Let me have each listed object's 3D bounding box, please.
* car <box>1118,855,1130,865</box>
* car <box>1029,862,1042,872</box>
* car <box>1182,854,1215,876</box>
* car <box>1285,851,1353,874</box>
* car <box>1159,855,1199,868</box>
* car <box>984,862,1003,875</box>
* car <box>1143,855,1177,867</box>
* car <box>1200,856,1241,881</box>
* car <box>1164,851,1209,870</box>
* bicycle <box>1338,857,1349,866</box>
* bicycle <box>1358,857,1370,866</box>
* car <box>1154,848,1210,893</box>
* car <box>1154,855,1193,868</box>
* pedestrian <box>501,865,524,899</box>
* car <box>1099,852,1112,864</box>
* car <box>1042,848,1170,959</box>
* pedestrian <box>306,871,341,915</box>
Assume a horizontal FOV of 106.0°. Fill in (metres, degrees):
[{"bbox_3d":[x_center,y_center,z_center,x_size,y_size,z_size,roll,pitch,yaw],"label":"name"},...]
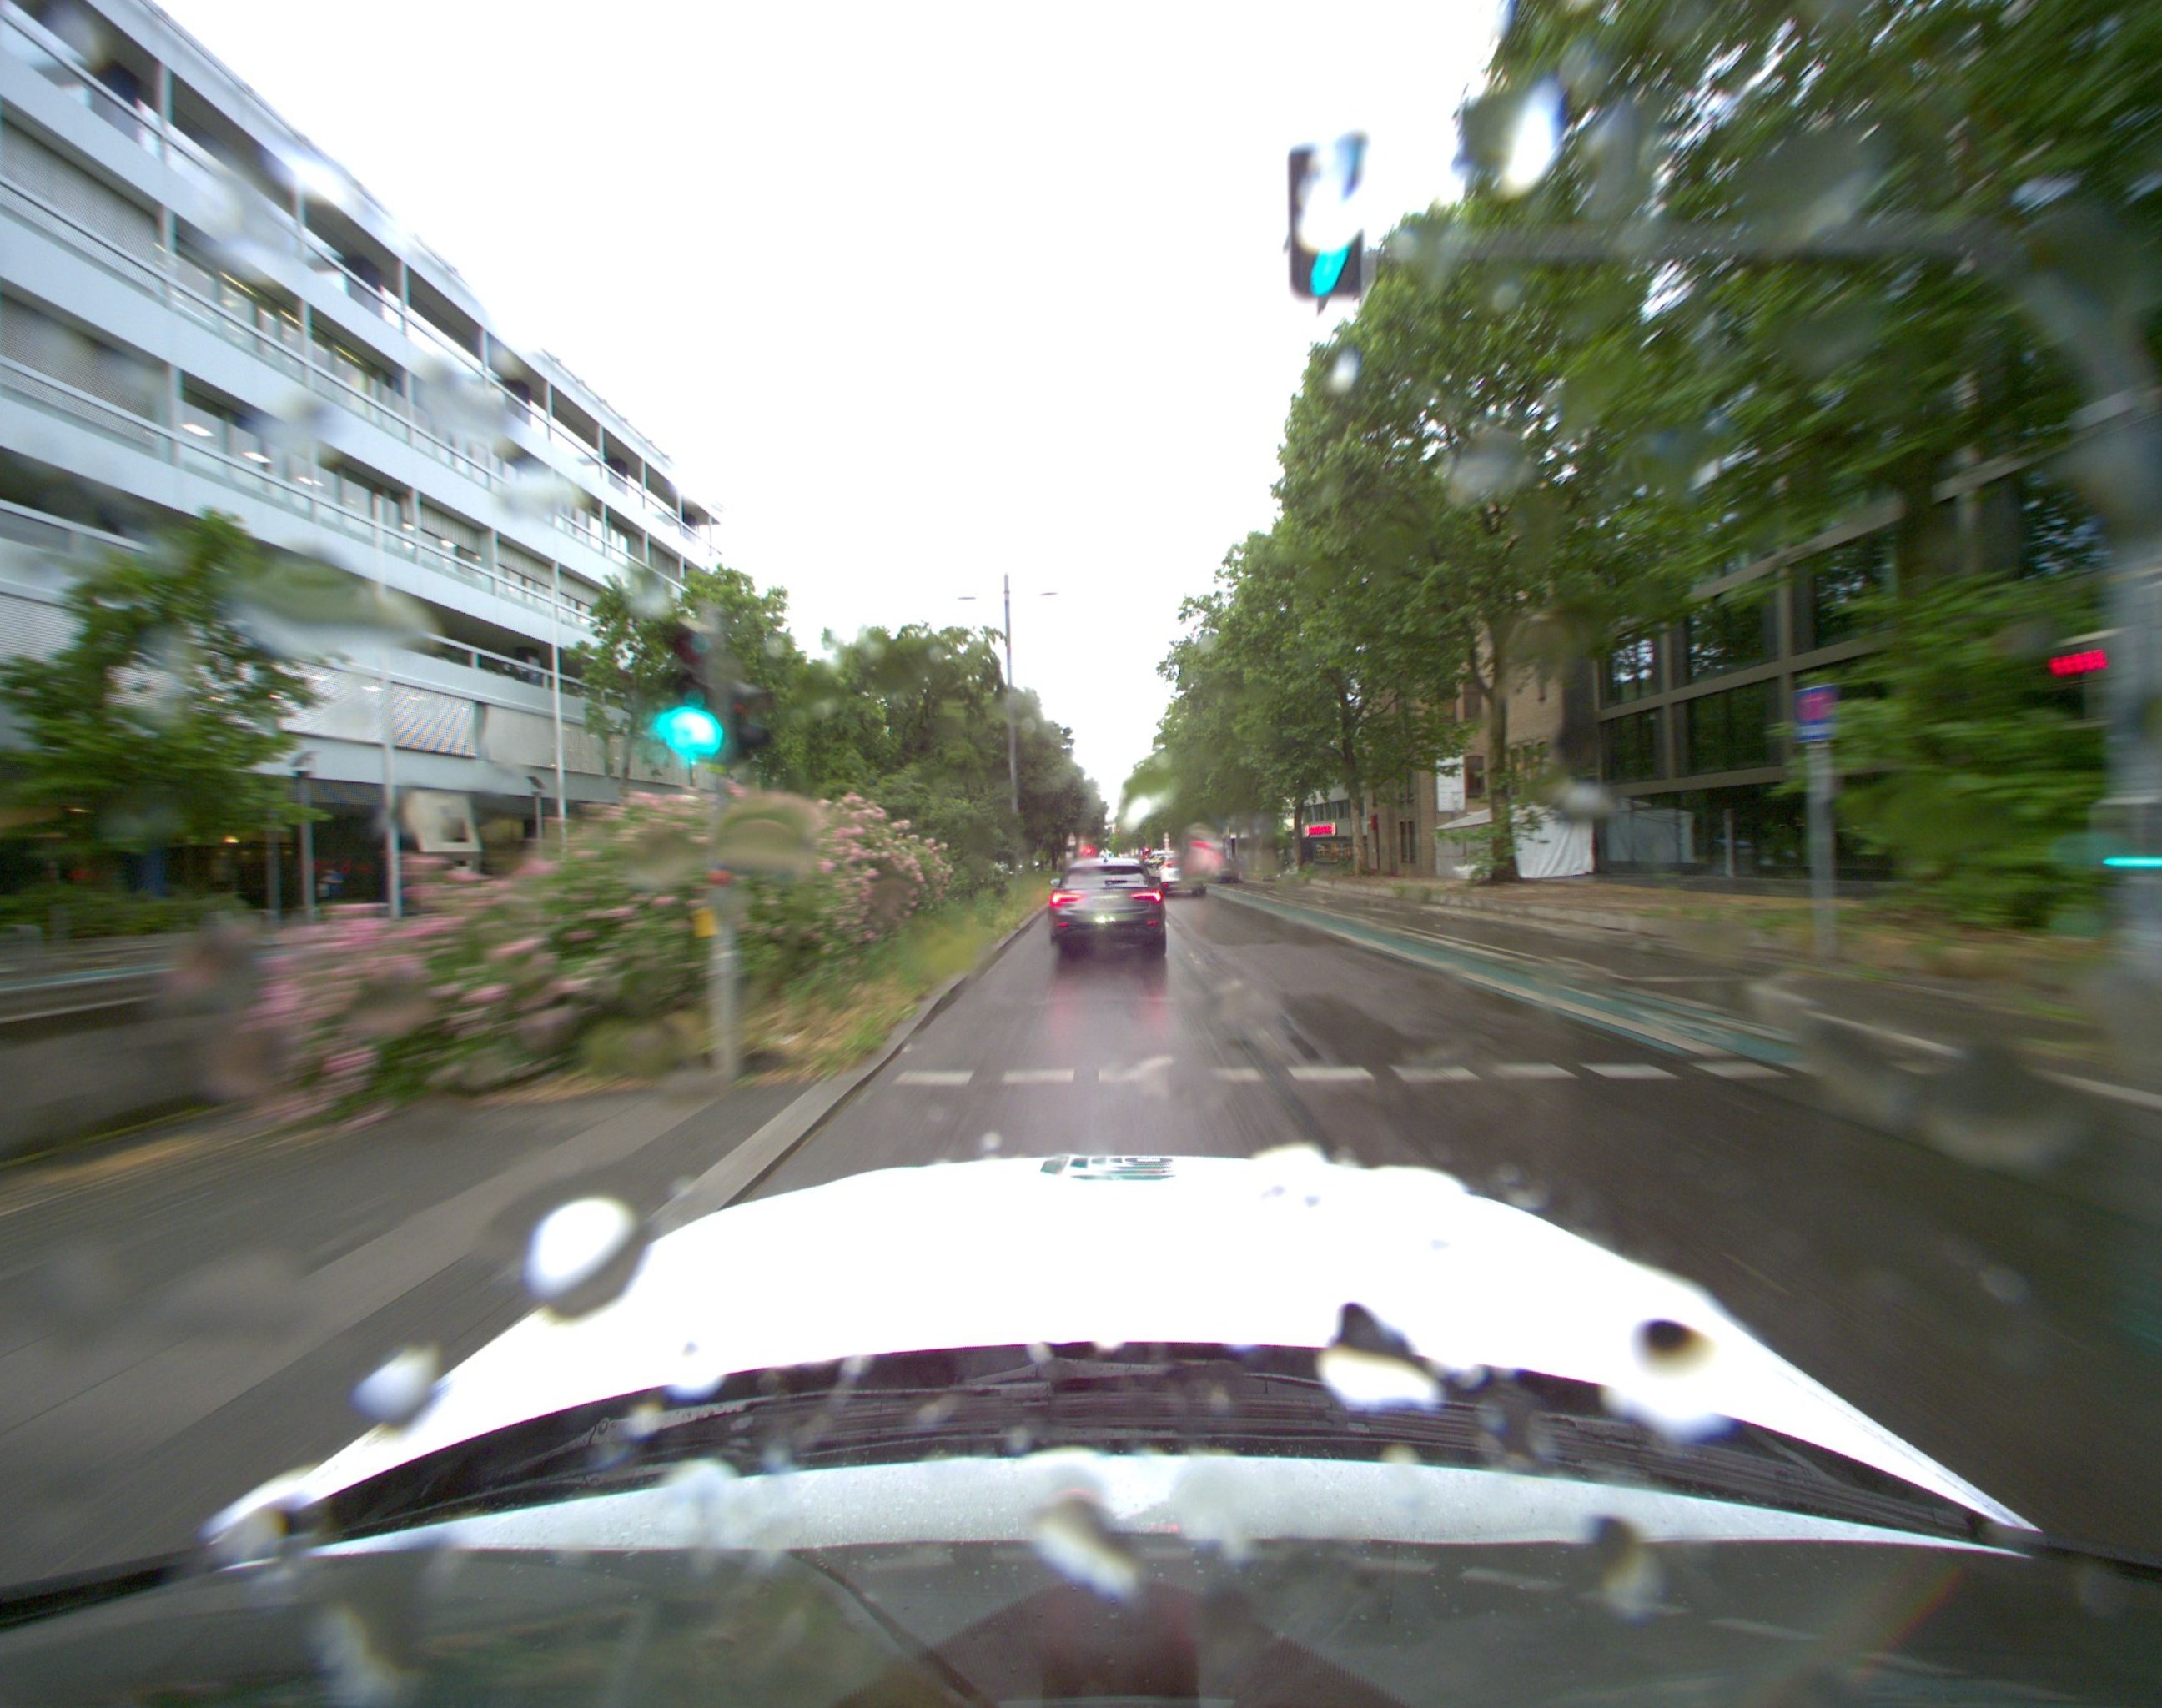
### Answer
[{"bbox_3d":[6.975,1.024,132.199,1.986,1.651,4.001,0,-1,2],"label":"car"},{"bbox_3d":[-7.719,2.158,138.827,1.753,1.703,4.337,0,-1,4],"label":"car"},{"bbox_3d":[8.680,0.794,60.495,1.723,1.571,4.069,0,-1,-3],"label":"car"},{"bbox_3d":[11.536,0.438,39.488,2.856,1.074,1.465,-1,-1,32],"label":"car"},{"bbox_3d":[12.478,0.974,104.026,4.594,1.706,2.012,-1,-1,29],"label":"car"},{"bbox_3d":[-10.175,1.724,94.613,1.642,1.435,3.814,-2,-1,2],"label":"car"},{"bbox_3d":[11.769,1.072,121.616,4.594,1.706,2.012,-1,-1,29],"label":"car"},{"bbox_3d":[8.428,0.852,49.543,1.866,1.421,4.612,0,-1,1],"label":"car"},{"bbox_3d":[11.679,0.767,90.411,4.548,2.014,1.980,-1,-1,39],"label":"car"},{"bbox_3d":[25.788,0.754,80.034,0.446,0.836,2.027,0,-1,2],"label":"bicycle"},{"bbox_3d":[25.824,0.676,74.389,0.446,0.836,2.027,0,-1,2],"label":"bicycle"},{"bbox_3d":[4.032,0.646,33.016,1.871,1.697,4.001,0,-1,1],"label":"car"},{"bbox_3d":[12.205,0.980,107.600,4.594,1.706,2.012,-1,-1,29],"label":"car"},{"bbox_3d":[-25.206,1.221,36.118,0.608,1.482,0.574,0,-1,-2],"label":"pedestrian"},{"bbox_3d":[3.688,0.612,122.848,1.987,1.727,4.000,0,-1,1],"label":"car"},{"bbox_3d":[0.387,0.740,13.920,1.843,1.602,4.000,-1,0,0],"label":"car"},{"bbox_3d":[-24.555,1.258,26.407,0.636,1.380,0.474,0,-1,-2],"label":"pedestrian"}]
